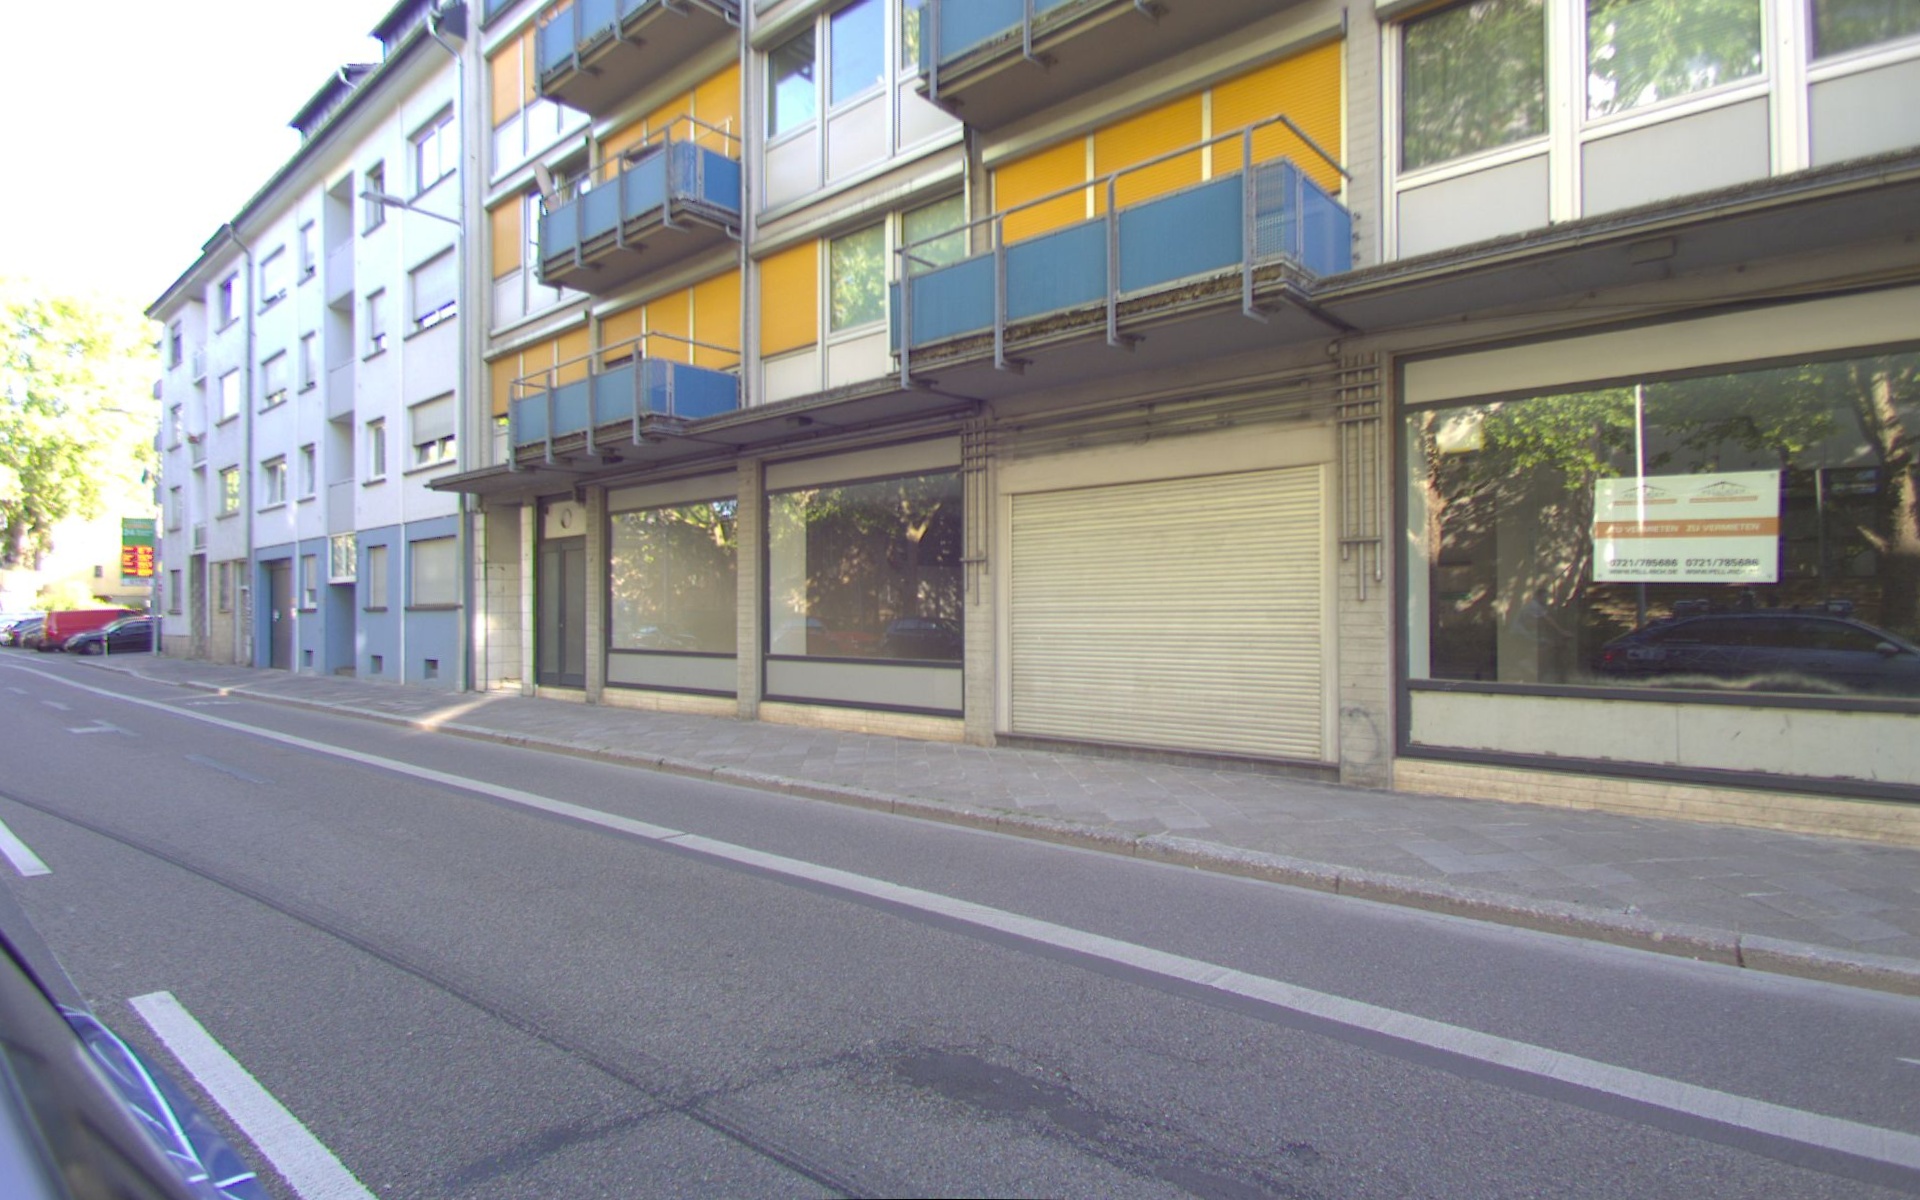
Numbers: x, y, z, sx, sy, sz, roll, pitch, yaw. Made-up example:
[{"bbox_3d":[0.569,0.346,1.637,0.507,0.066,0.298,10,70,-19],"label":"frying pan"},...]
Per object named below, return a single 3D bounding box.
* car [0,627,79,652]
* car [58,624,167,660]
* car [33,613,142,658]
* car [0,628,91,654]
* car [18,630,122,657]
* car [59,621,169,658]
[{"bbox_3d":[-52.260,2.233,57.512,1.345,1.254,3.228,-1,0,43],"label":"car"},{"bbox_3d":[-36.676,1.796,43.851,1.490,1.398,3.462,-1,0,43],"label":"car"},{"bbox_3d":[-40.652,1.633,47.231,1.488,1.923,3.642,-4,-2,39],"label":"car"},{"bbox_3d":[-50.446,2.225,55.883,1.345,1.254,3.638,-1,0,43],"label":"car"},{"bbox_3d":[-42.814,2.058,48.746,1.345,1.137,3.638,-1,0,43],"label":"car"},{"bbox_3d":[-38.193,1.753,45.731,1.490,1.523,3.638,-1,0,43],"label":"car"}]
